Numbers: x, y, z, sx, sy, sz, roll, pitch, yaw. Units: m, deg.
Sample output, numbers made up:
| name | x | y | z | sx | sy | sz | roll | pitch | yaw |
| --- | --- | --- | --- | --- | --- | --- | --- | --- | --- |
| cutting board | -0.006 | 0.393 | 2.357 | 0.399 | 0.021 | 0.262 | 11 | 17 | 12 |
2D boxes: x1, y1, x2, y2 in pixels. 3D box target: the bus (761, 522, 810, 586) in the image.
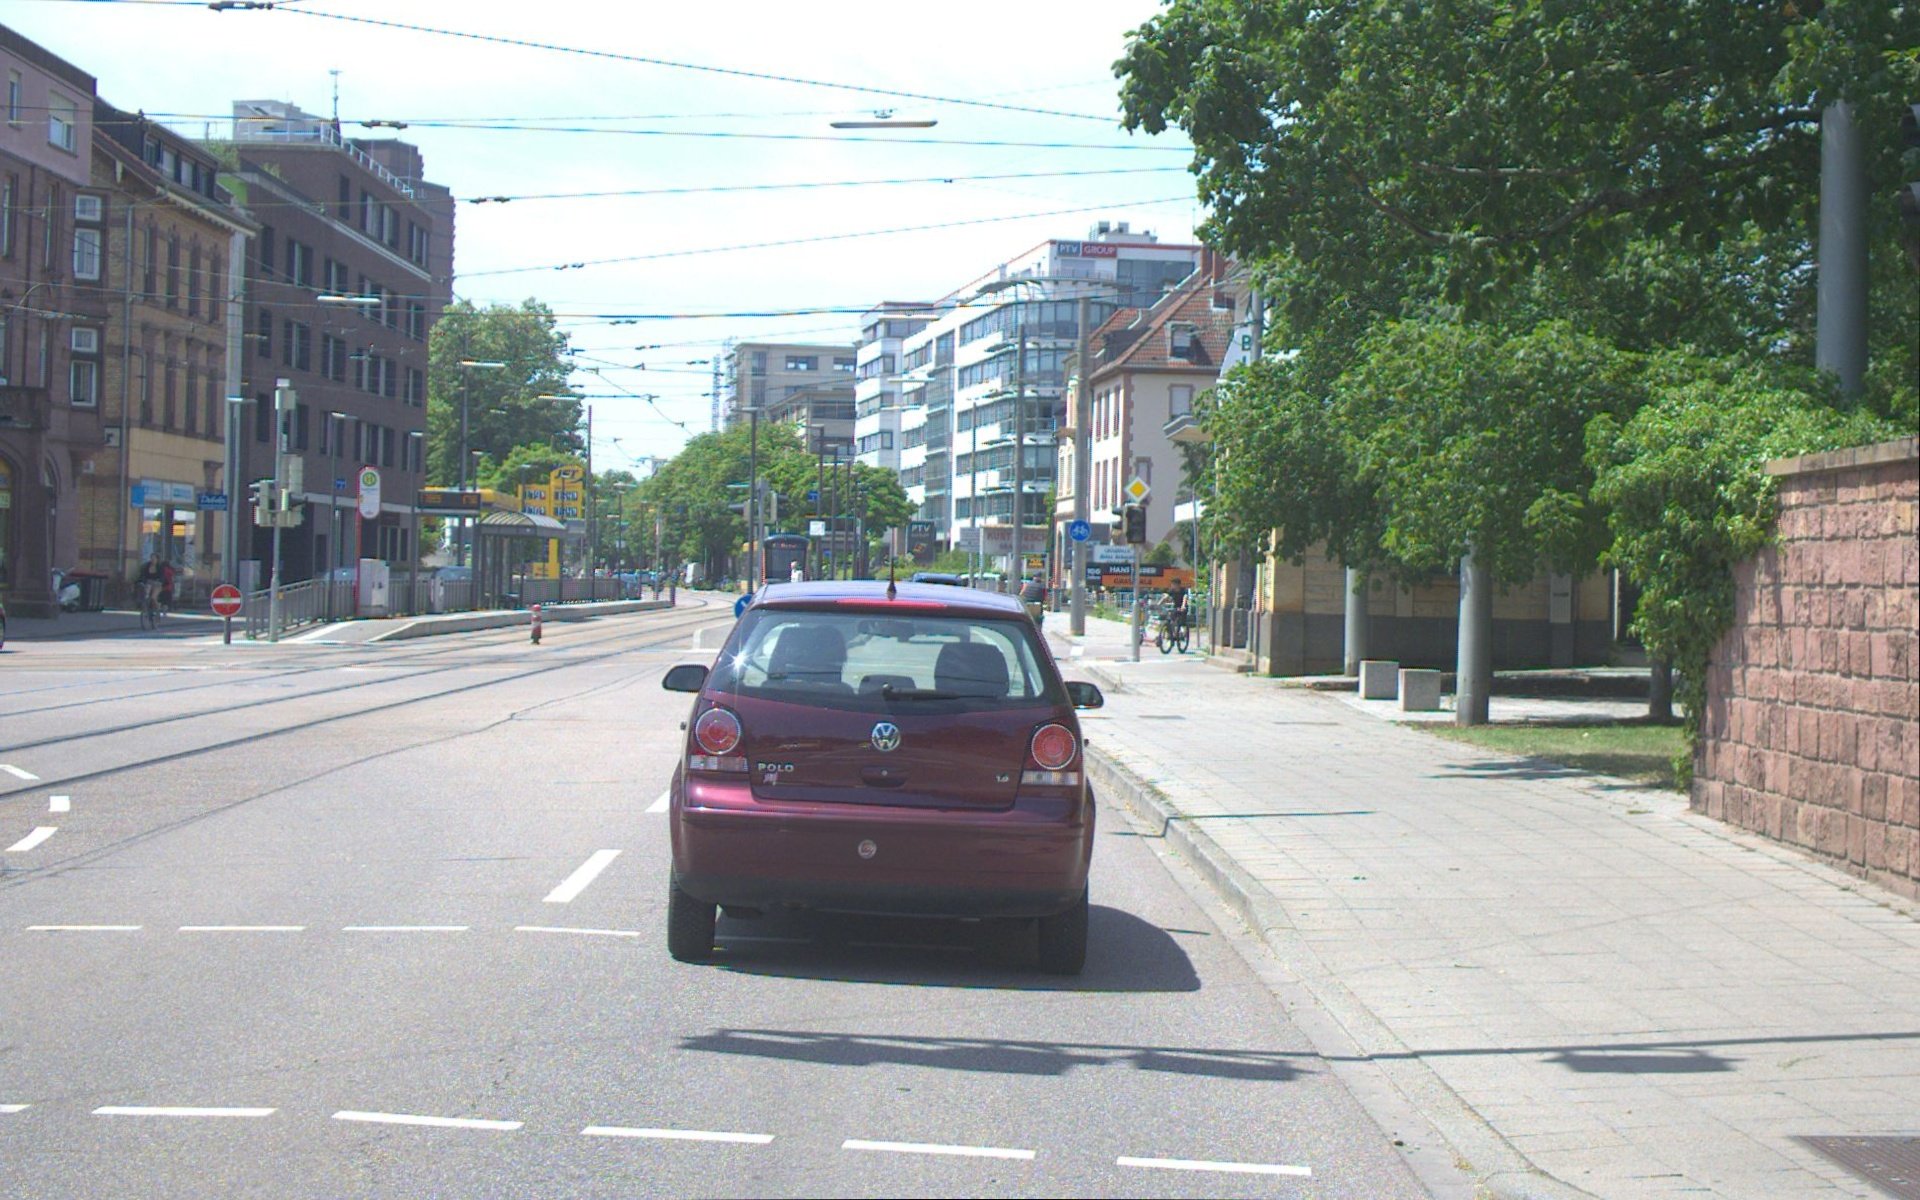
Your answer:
| name | x | y | z | sx | sy | sz | roll | pitch | yaw |
| --- | --- | --- | --- | --- | --- | --- | --- | --- | --- |
| bus | -8.453 | -2.223 | 166.713 | 2.144 | 2.993 | 6.574 | 1 | 0 | -2 |

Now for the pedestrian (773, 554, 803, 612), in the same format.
| name | x | y | z | sx | sy | sz | roll | pitch | yaw |
| --- | --- | --- | --- | --- | --- | --- | --- | --- | --- |
| pedestrian | -5.017 | -0.511 | 100.490 | 0.763 | 1.669 | 1.100 | 2 | 0 | 0 |

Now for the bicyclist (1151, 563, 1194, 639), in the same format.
| name | x | y | z | sx | sy | sz | roll | pitch | yaw |
| --- | --- | --- | --- | --- | --- | --- | --- | --- | --- |
| bicyclist | 4.606 | 0.015 | 74.620 | 0.832 | 1.612 | 0.860 | -2 | 1 | 0 |

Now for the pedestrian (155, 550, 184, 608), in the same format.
| name | x | y | z | sx | sy | sz | roll | pitch | yaw |
| --- | --- | --- | --- | --- | --- | --- | --- | --- | --- |
| pedestrian | -21.158 | -0.566 | 92.016 | 0.614 | 1.555 | 0.640 | 1 | 1 | -1 |

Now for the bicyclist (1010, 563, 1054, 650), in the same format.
| name | x | y | z | sx | sy | sz | roll | pitch | yaw |
| --- | --- | --- | --- | --- | --- | --- | --- | --- | --- |
| bicyclist | 1.479 | 0.128 | 70.545 | 0.727 | 1.754 | 0.923 | 1 | 1 | 10 |

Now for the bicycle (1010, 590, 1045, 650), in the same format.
| name | x | y | z | sx | sy | sz | roll | pitch | yaw |
| --- | --- | --- | --- | --- | --- | --- | --- | --- | --- |
| bicycle | 1.398 | 0.405 | 70.485 | 0.375 | 1.193 | 1.904 | 1 | 1 | 11 |

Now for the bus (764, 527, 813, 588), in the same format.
| name | x | y | z | sx | sy | sz | roll | pitch | yaw |
| --- | --- | --- | --- | --- | --- | --- | --- | --- | --- |
| bus | -8.604 | -2.141 | 173.310 | 2.233 | 2.993 | 6.594 | 1 | 0 | -1 |

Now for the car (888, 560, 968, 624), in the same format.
| name | x | y | z | sx | sy | sz | roll | pitch | yaw |
| --- | --- | --- | --- | --- | --- | --- | --- | --- | --- |
| car | -0.819 | -0.225 | 90.991 | 1.993 | 1.619 | 4.632 | 1 | 0 | 1 |

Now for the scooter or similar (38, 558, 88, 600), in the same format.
| name | x | y | z | sx | sy | sz | roll | pitch | yaw |
| --- | --- | --- | --- | --- | --- | --- | --- | --- | --- |
| scooter or similar | -23.140 | -0.541 | 88.743 | 0.488 | 1.078 | 1.575 | 1 | 1 | 16 |

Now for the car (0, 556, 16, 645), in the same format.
| name | x | y | z | sx | sy | sz | roll | pitch | yaw |
| --- | --- | --- | --- | --- | --- | --- | --- | --- | --- |
| car | -16.844 | -0.004 | 56.227 | 1.624 | 1.479 | 3.829 | 1 | 0 | 2 |

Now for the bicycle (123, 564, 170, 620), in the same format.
| name | x | y | z | sx | sy | sz | roll | pitch | yaw |
| --- | --- | --- | --- | --- | --- | --- | --- | --- | --- |
| bicycle | -19.466 | -0.195 | 82.282 | 0.676 | 1.300 | 2.105 | 1 | 1 | -3 |

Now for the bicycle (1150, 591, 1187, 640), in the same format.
| name | x | y | z | sx | sy | sz | roll | pitch | yaw |
| --- | --- | --- | --- | --- | --- | --- | --- | --- | --- |
| bicycle | 4.528 | 0.330 | 74.682 | 0.668 | 0.999 | 1.864 | -2 | 1 | 0 |

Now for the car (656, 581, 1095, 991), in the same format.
| name | x | y | z | sx | sy | sz | roll | pitch | yaw |
| --- | --- | --- | --- | --- | --- | --- | --- | --- | --- |
| car | -0.332 | 0.670 | 14.032 | 1.561 | 1.448 | 3.062 | 1 | 0 | -1 |

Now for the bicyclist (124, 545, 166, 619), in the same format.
| name | x | y | z | sx | sy | sz | roll | pitch | yaw |
| --- | --- | --- | --- | --- | --- | --- | --- | --- | --- |
| bicyclist | -19.519 | -0.435 | 82.338 | 0.732 | 1.756 | 1.135 | 1 | 1 | -3 |
